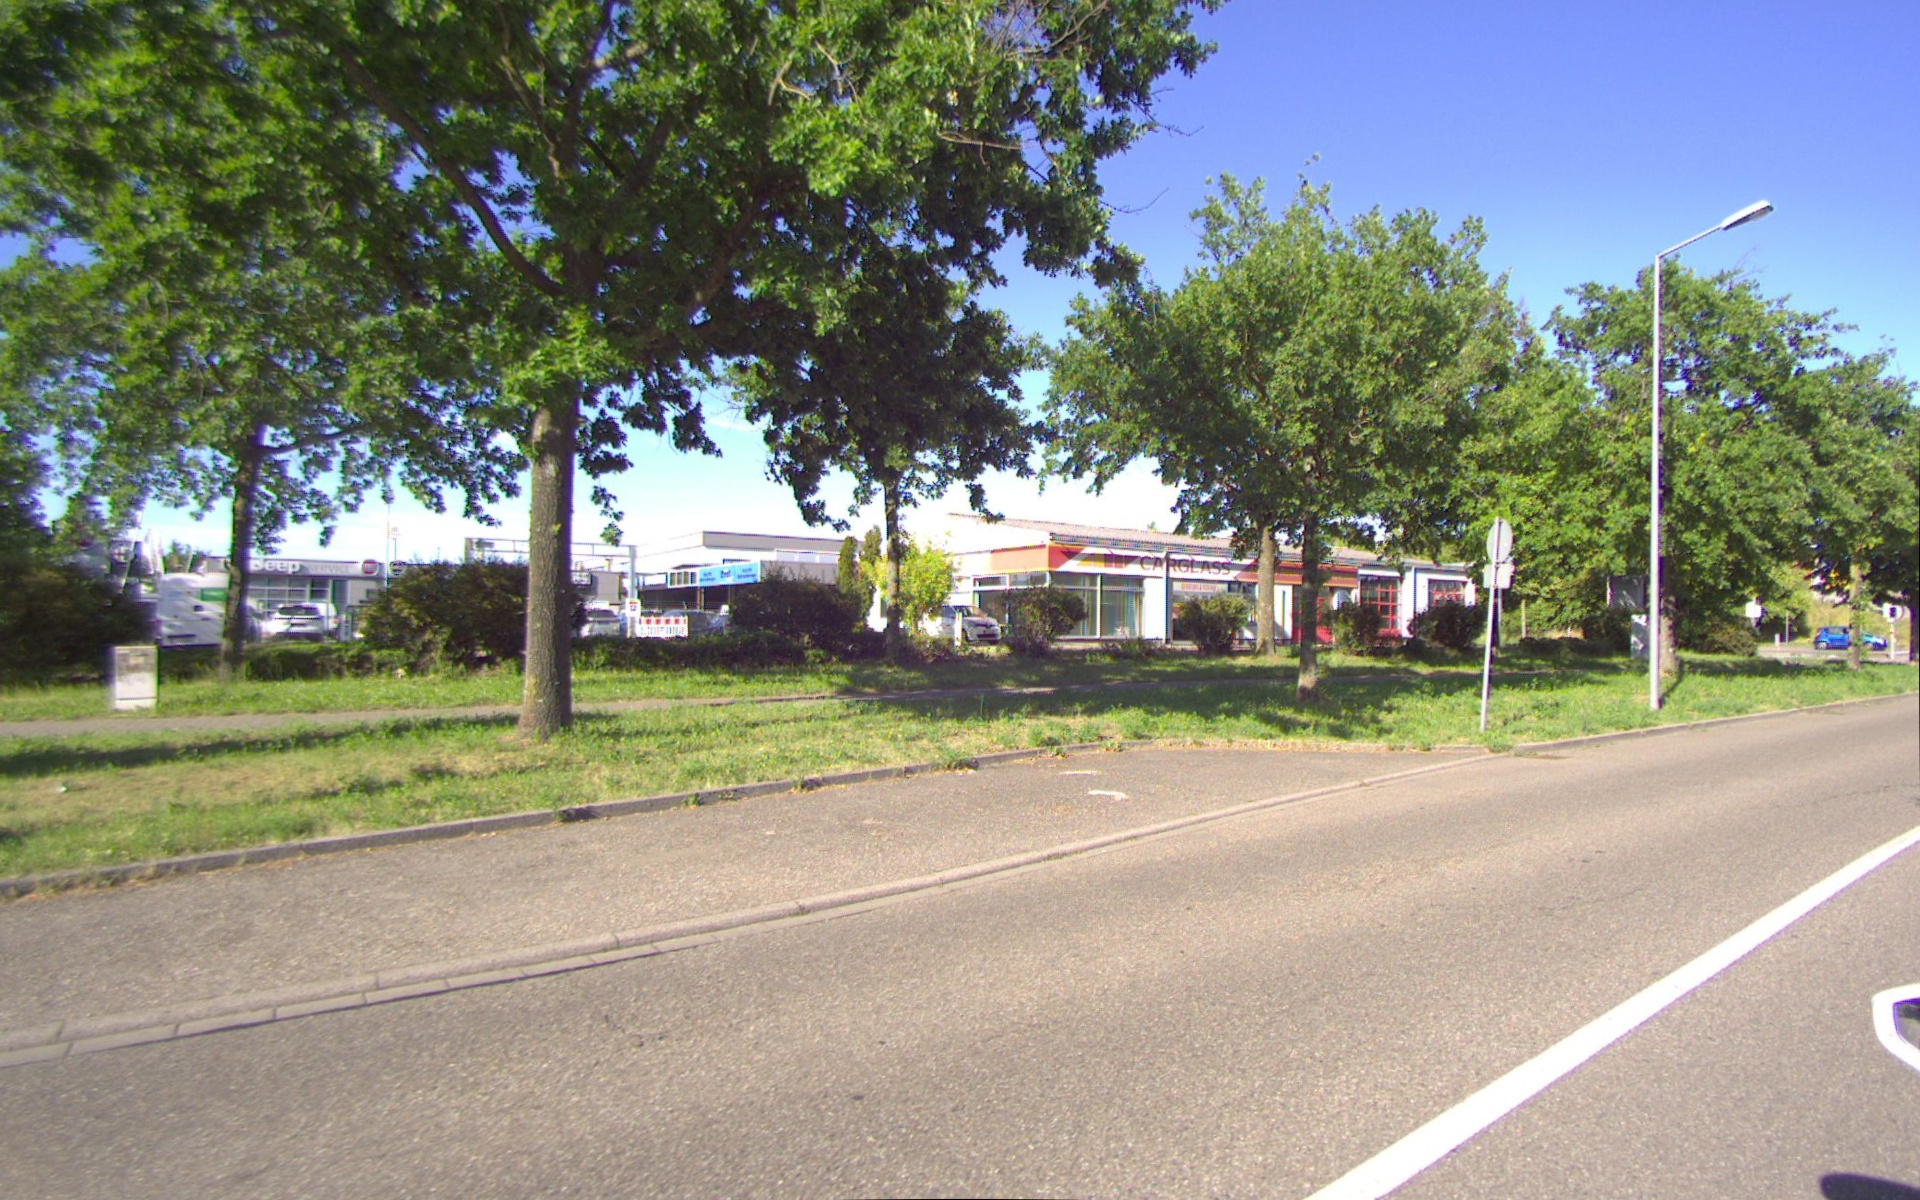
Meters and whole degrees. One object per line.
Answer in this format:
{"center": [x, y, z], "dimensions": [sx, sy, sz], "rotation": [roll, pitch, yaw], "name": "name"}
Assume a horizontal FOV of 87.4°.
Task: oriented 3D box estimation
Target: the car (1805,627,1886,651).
{"center": [58.680, 2.596, 66.609], "dimensions": [1.669, 1.403, 3.815], "rotation": [2, -1, -39], "name": "car"}

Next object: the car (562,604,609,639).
{"center": [-22.688, 1.286, 60.779], "dimensions": [1.864, 2.040, 3.964], "rotation": [1, -1, -33], "name": "car"}

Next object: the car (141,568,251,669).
{"center": [-23.094, 0.502, 30.591], "dimensions": [2.278, 2.738, 6.119], "rotation": [2, 0, -35], "name": "car"}

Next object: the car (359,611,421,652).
{"center": [-19.422, 1.044, 34.159], "dimensions": [1.558, 1.319, 3.500], "rotation": [1, -1, -34], "name": "car"}

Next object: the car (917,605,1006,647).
{"center": [0.010, 0.974, 38.193], "dimensions": [1.578, 1.517, 3.571], "rotation": [2, -2, -36], "name": "car"}

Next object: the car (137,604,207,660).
{"center": [-30.857, 1.225, 39.435], "dimensions": [1.867, 1.992, 4.211], "rotation": [2, 0, -35], "name": "car"}
